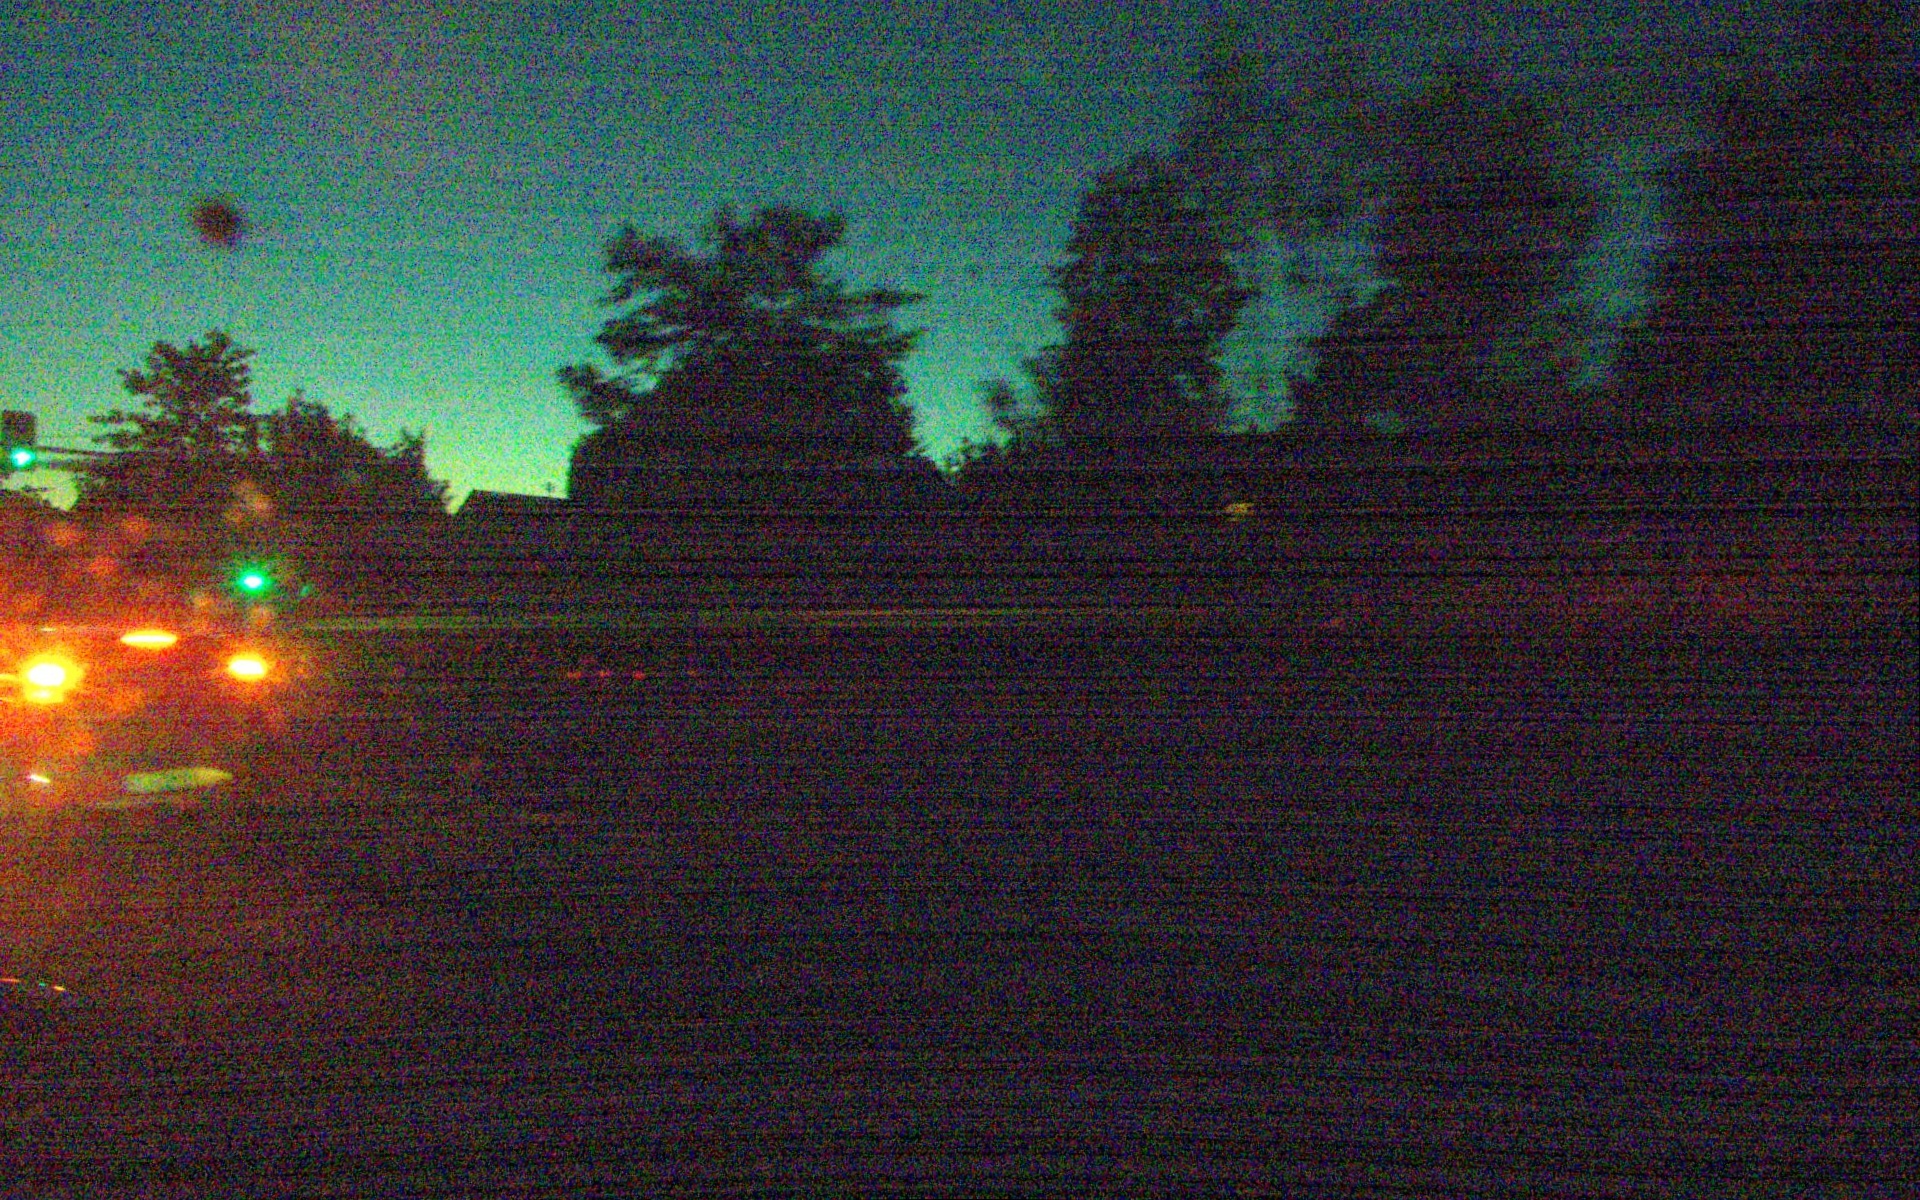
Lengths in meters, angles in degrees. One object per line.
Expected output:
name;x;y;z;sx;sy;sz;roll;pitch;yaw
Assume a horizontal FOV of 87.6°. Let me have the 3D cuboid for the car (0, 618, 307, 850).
car;-6.949;0.884;7.991;3.440;1.469;1.650;0;-1;32
